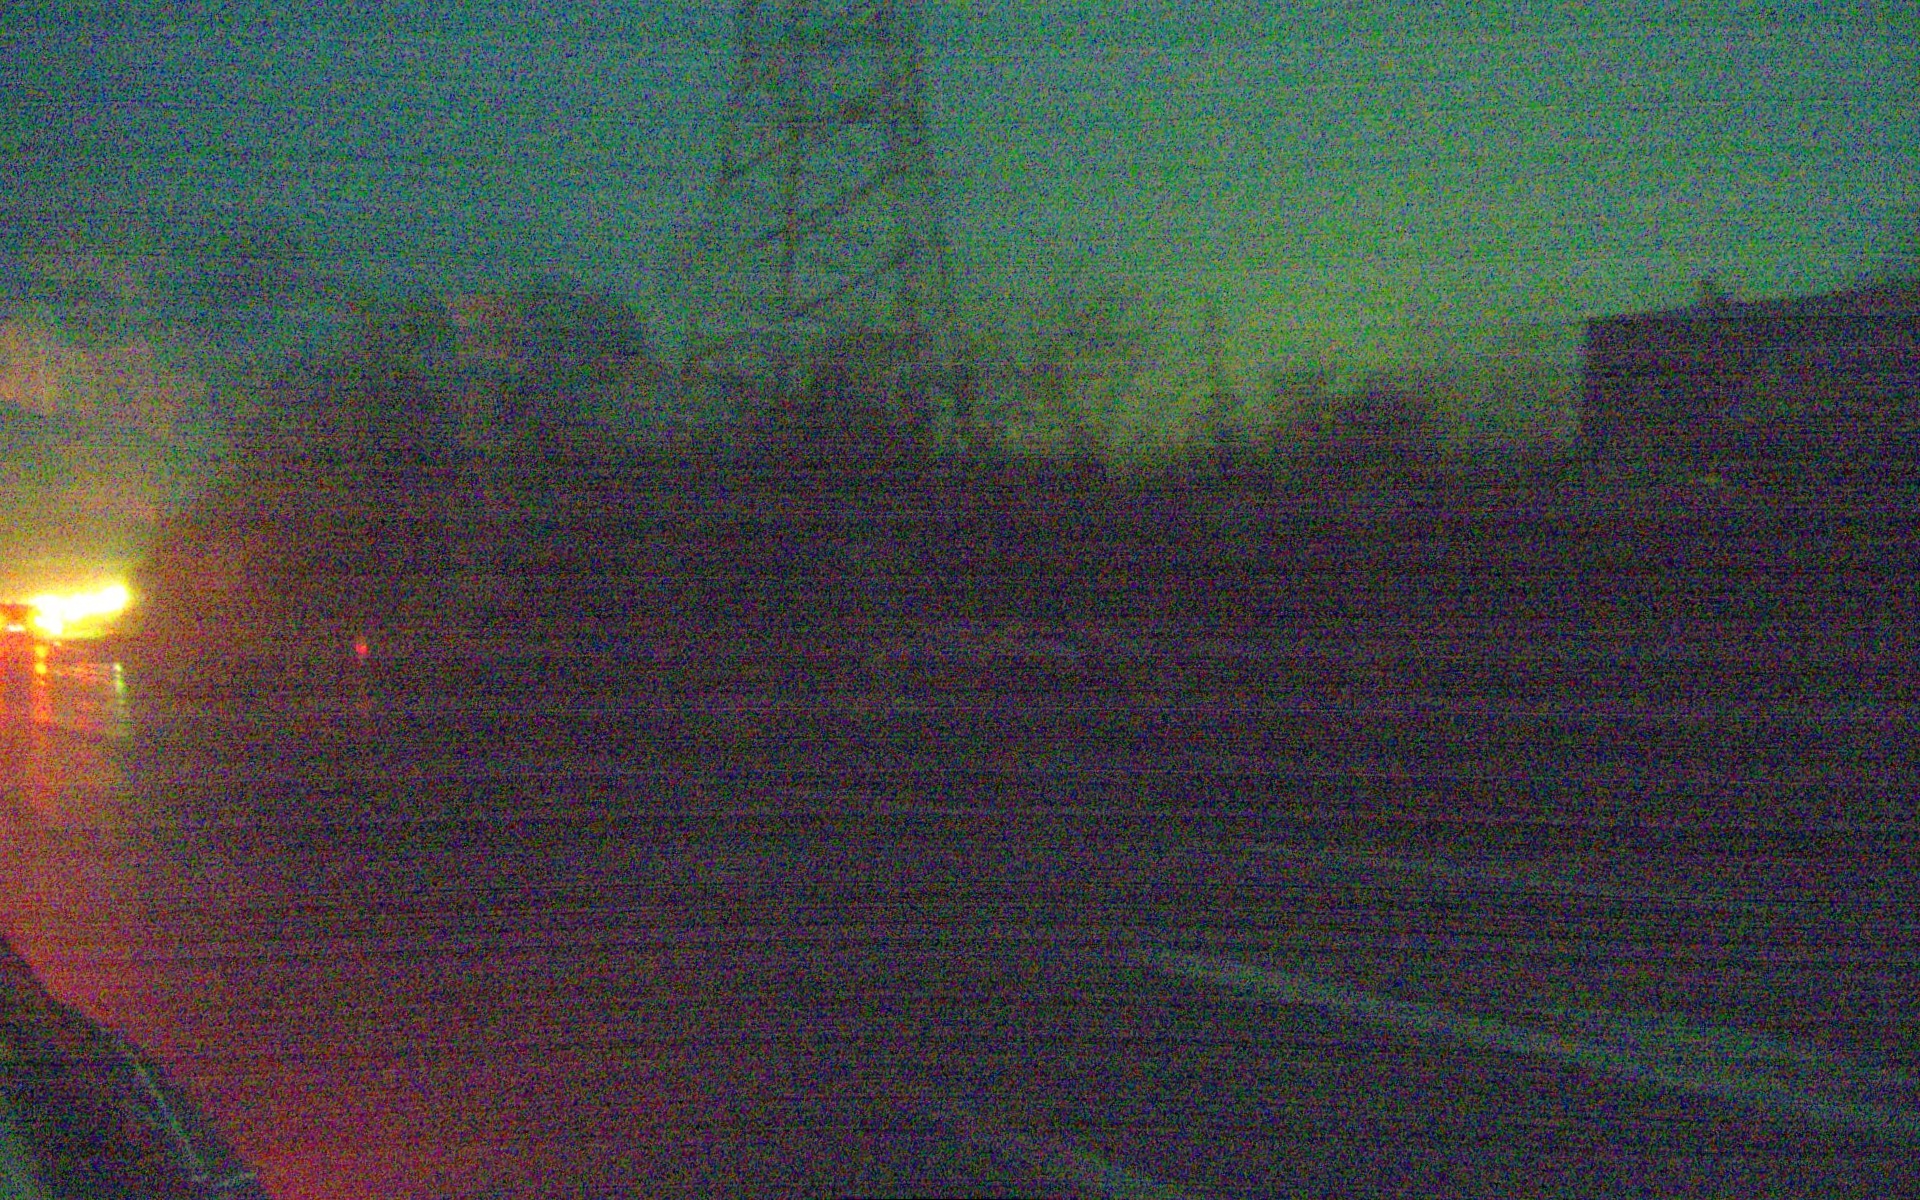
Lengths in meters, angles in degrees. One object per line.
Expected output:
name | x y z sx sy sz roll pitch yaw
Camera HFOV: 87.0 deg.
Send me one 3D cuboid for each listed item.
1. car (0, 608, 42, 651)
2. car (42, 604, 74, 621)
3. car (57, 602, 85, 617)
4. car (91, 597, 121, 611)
car | -42.959 1.295 45.695 4.962 1.760 1.840 0 1 43
car | -81.062 1.086 90.955 1.748 1.399 4.242 0 1 -36
car | -86.804 0.921 98.859 1.748 1.399 4.122 0 1 -36
car | -96.869 0.463 114.792 1.746 1.495 4.395 0 1 -29
